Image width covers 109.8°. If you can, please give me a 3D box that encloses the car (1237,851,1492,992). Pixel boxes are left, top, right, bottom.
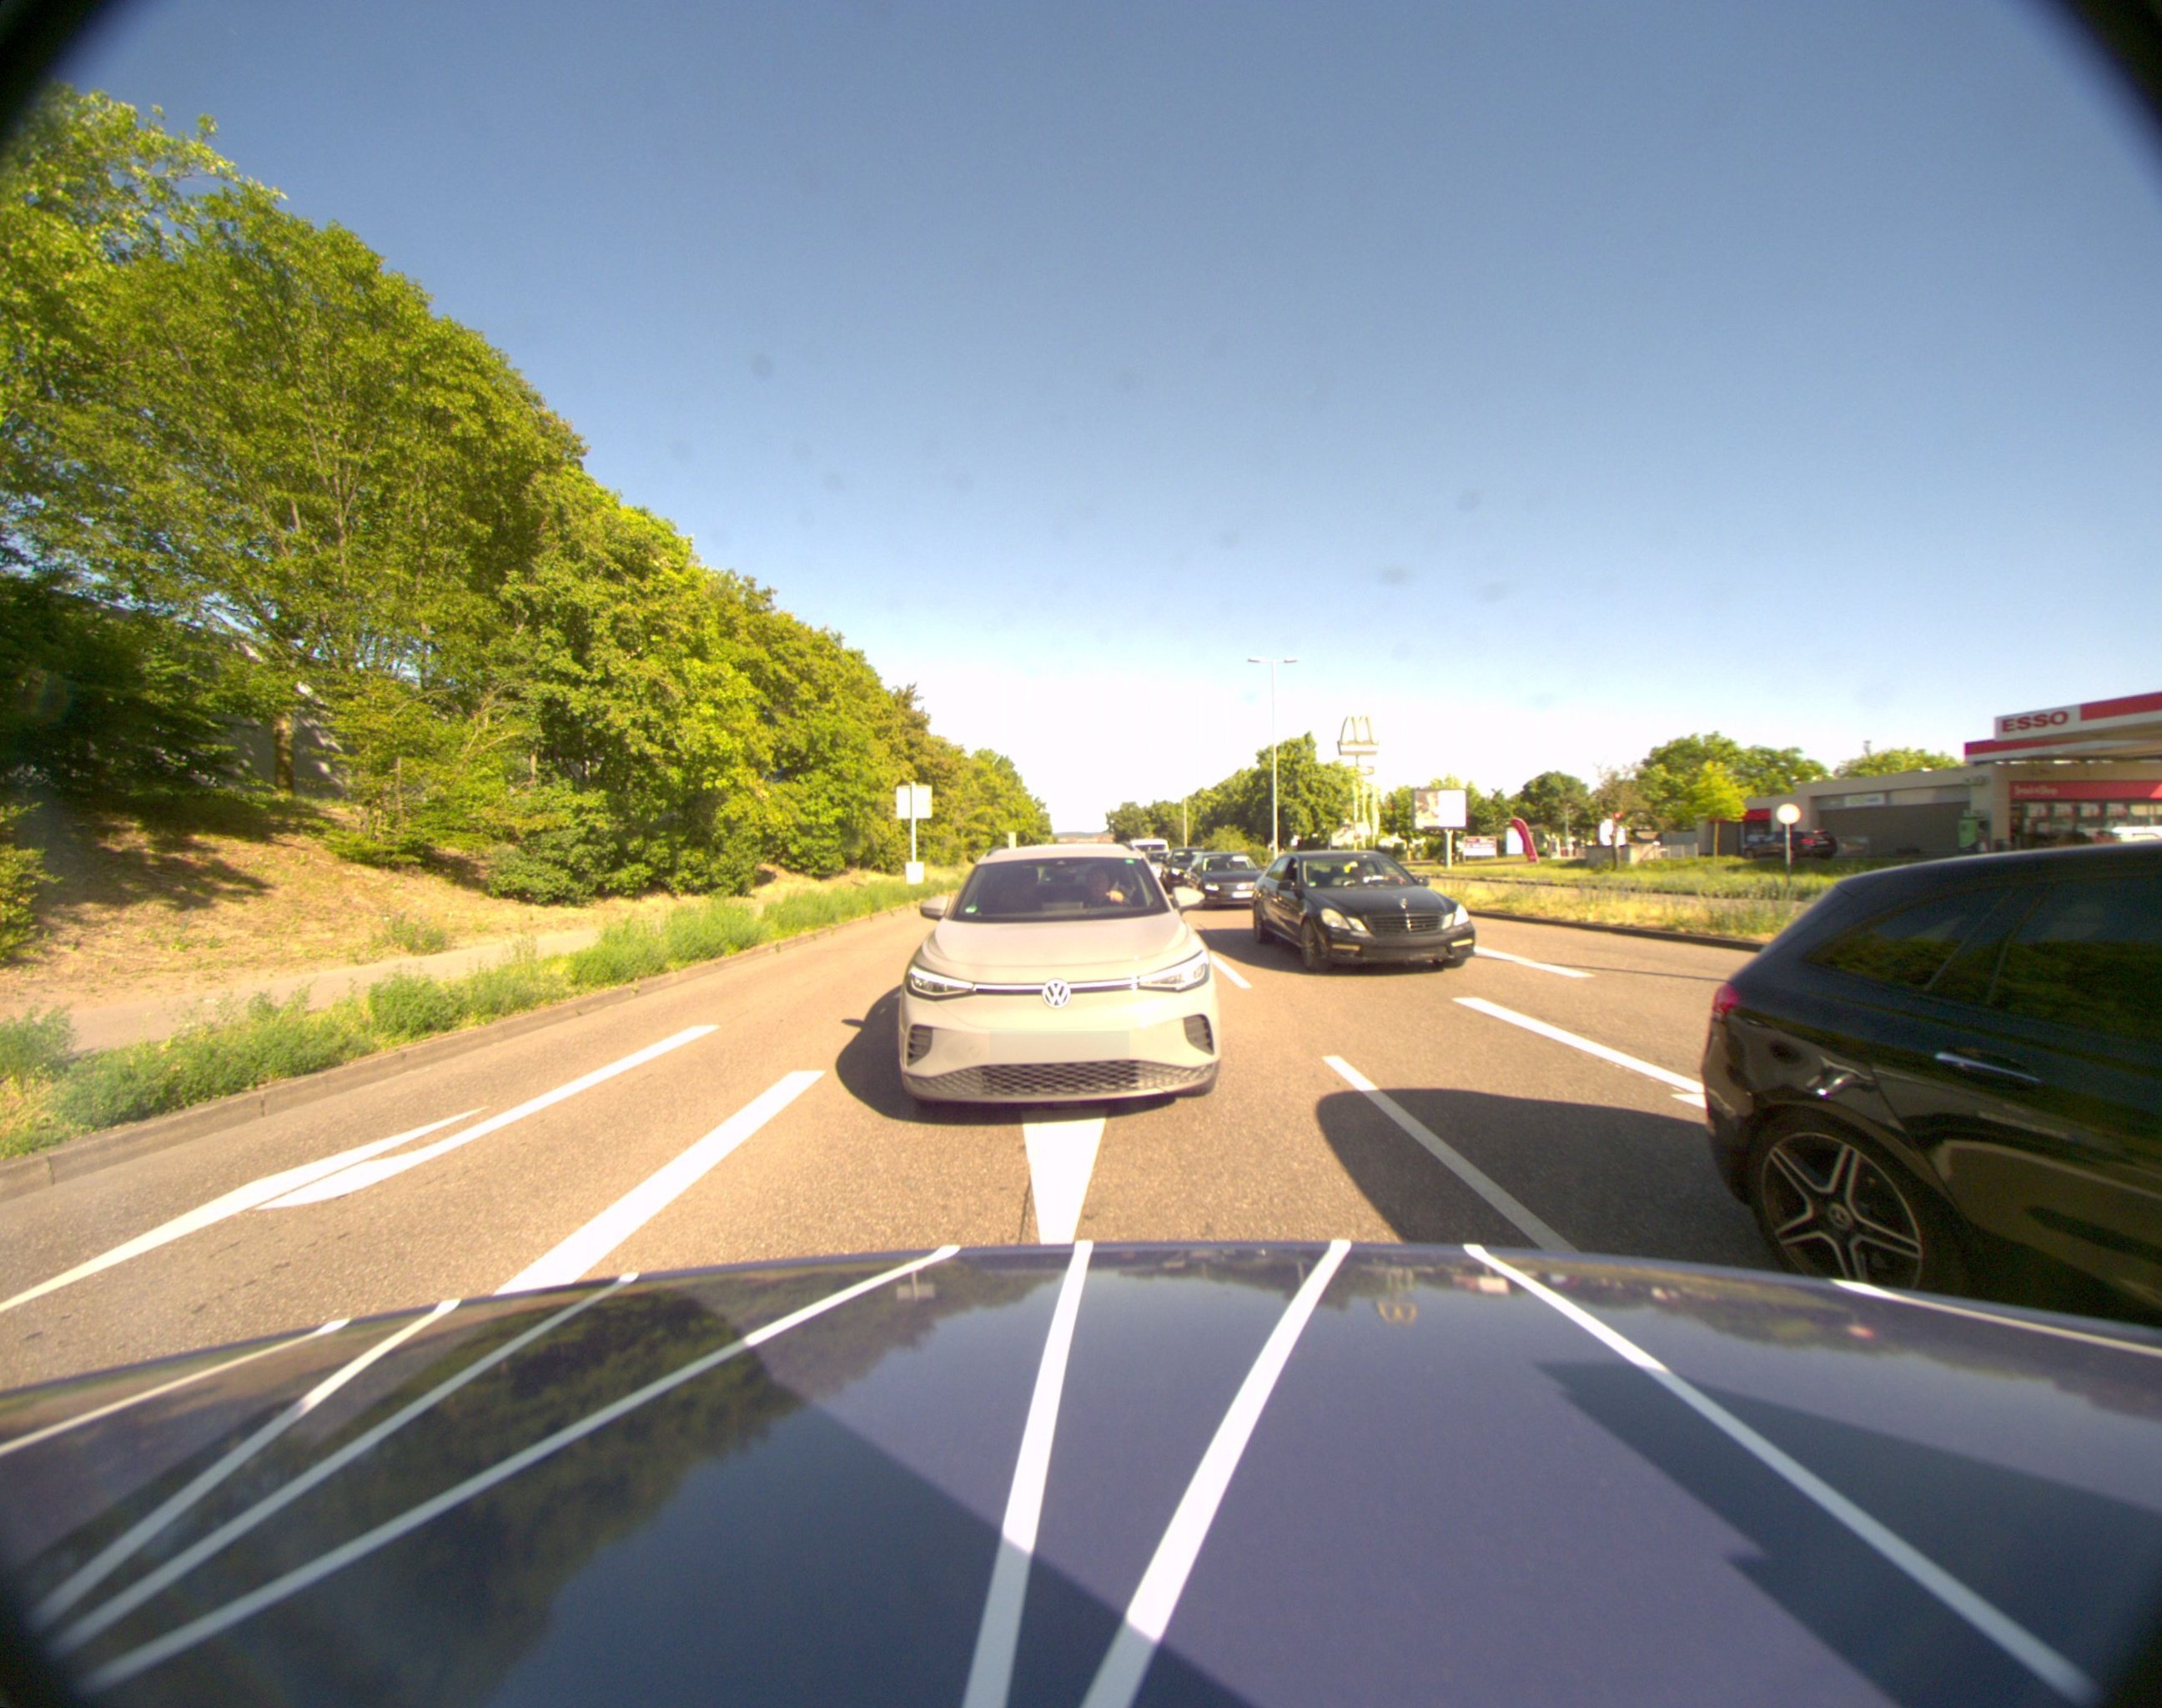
[{"bbox_3d":[3.582,0.737,10.584,1.868,1.430,4.402,-2,1,0],"label":"car"}]

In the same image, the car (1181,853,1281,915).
[{"bbox_3d":[3.920,0.724,20.577,1.797,1.419,4.286,-2,1,0],"label":"car"}]

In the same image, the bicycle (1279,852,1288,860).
[{"bbox_3d":[24.839,0.209,93.058,0.629,0.863,1.741,-2,1,1],"label":"bicycle"}]

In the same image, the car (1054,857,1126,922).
[{"bbox_3d":[0.215,0.910,21.372,1.763,1.482,4.402,-2,1,0],"label":"car"}]

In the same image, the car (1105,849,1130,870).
[{"bbox_3d":[2.961,0.418,62.554,1.763,1.607,4.402,-2,1,0],"label":"car"}]

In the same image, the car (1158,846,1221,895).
[{"bbox_3d":[3.921,0.551,27.990,1.674,1.608,3.878,-2,1,0],"label":"car"}]

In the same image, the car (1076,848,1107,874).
[{"bbox_3d":[0.627,0.392,47.463,1.763,1.482,4.402,-2,1,0],"label":"car"}]

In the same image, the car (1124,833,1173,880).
[{"bbox_3d":[3.684,0.114,42.477,2.019,2.349,6.523,-2,1,0],"label":"car"}]

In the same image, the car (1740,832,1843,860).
[{"bbox_3d":[37.521,-0.438,40.248,1.682,1.401,3.977,1,1,0],"label":"car"}]

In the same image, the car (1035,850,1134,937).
[{"bbox_3d":[0.063,0.715,16.203,1.763,1.482,4.402,-2,1,0],"label":"car"}]

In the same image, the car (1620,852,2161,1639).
[{"bbox_3d":[3.012,0.805,0.777,1.763,1.482,4.402,-2,1,0],"label":"car"}]

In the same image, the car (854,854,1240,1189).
[{"bbox_3d":[-0.172,0.836,5.993,1.862,1.574,4.402,-2,1,0],"label":"car"}]

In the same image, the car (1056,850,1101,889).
[{"bbox_3d":[-0.099,0.630,33.238,1.763,1.482,4.402,-2,1,0],"label":"car"}]

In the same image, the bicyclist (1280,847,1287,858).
[{"bbox_3d":[24.839,-0.148,93.102,0.629,1.281,0.700,-2,1,1],"label":"bicyclist"}]

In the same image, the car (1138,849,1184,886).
[{"bbox_3d":[3.593,0.571,34.621,1.635,1.547,3.777,-2,1,0],"label":"car"}]

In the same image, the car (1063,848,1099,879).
[{"bbox_3d":[-0.021,0.461,40.297,1.763,1.482,4.402,-2,1,0],"label":"car"}]
